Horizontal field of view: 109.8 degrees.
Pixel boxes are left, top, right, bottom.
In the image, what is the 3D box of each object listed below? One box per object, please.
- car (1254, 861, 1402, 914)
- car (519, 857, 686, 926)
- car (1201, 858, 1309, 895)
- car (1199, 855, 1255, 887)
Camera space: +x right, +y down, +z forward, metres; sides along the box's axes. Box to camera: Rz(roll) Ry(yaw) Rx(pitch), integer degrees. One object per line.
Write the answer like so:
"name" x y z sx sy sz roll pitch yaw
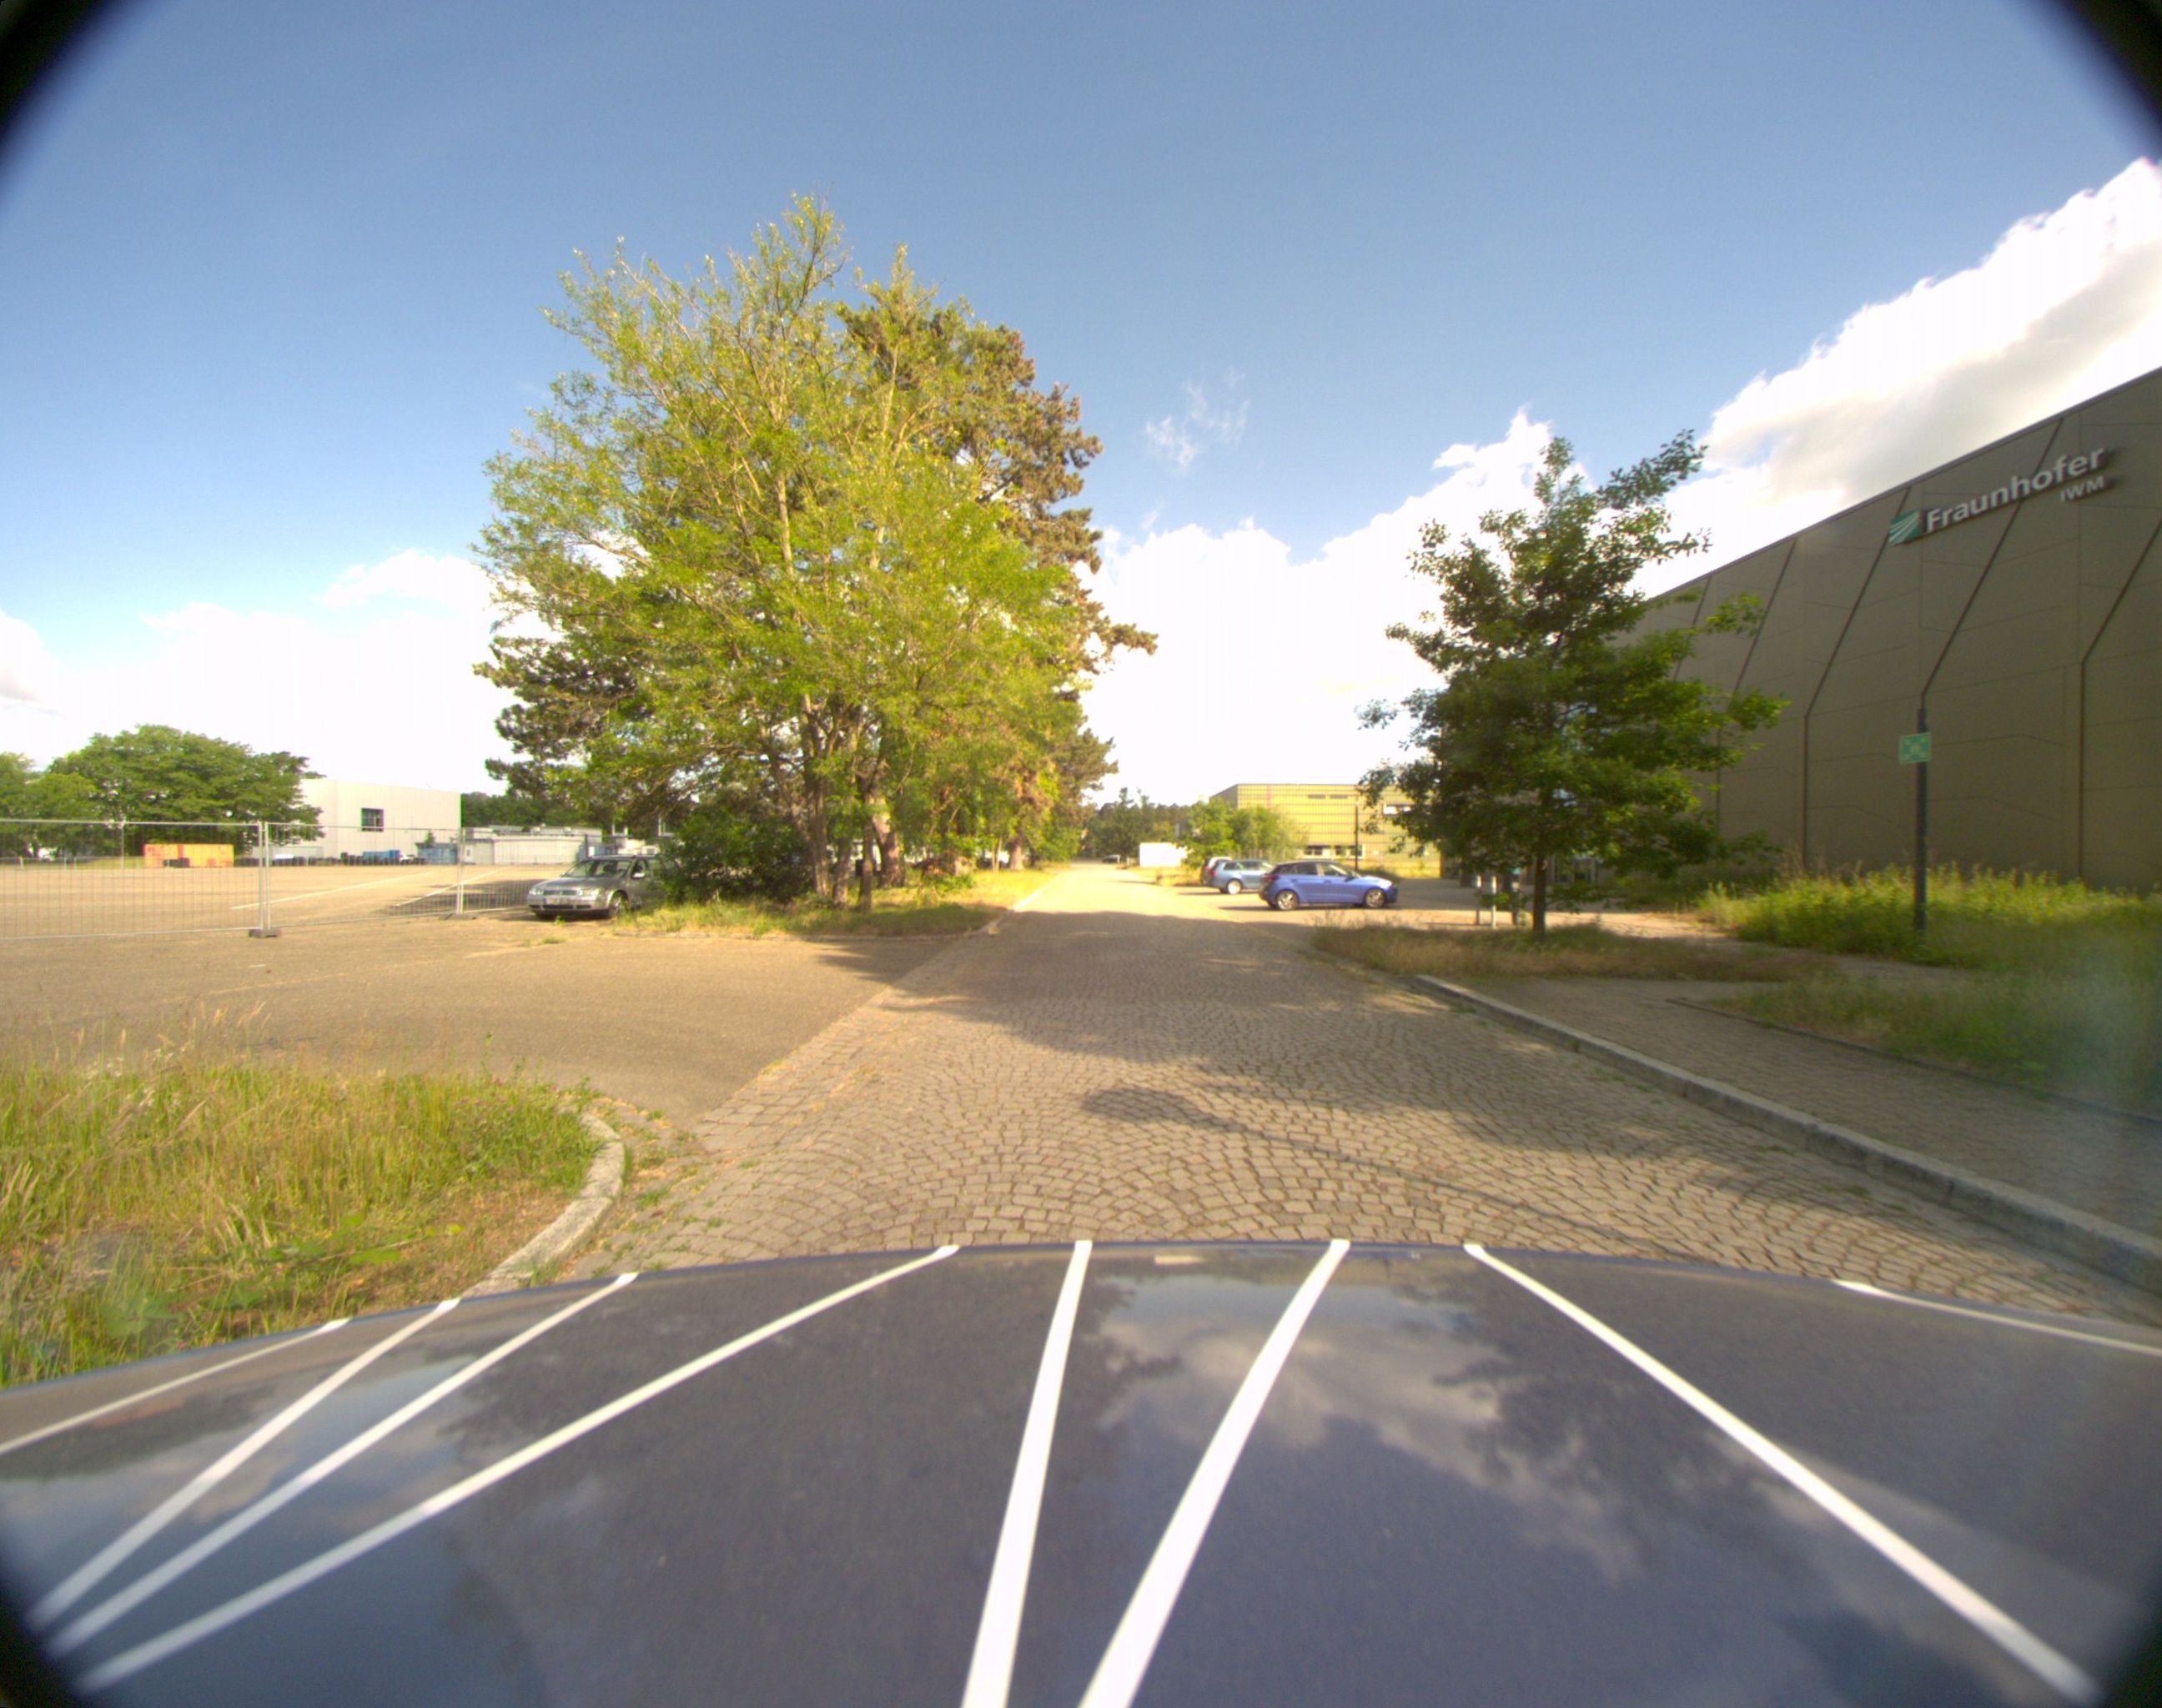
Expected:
"car" 7.403 0.979 23.059 3.918 1.459 1.735 -1 0 3
"car" -11.127 0.801 18.038 1.579 1.435 3.985 0 0 -3
"car" 7.383 0.932 32.540 4.180 1.465 1.734 -1 0 -2
"car" 7.639 0.870 39.902 2.652 1.559 1.481 -1 0 -1
